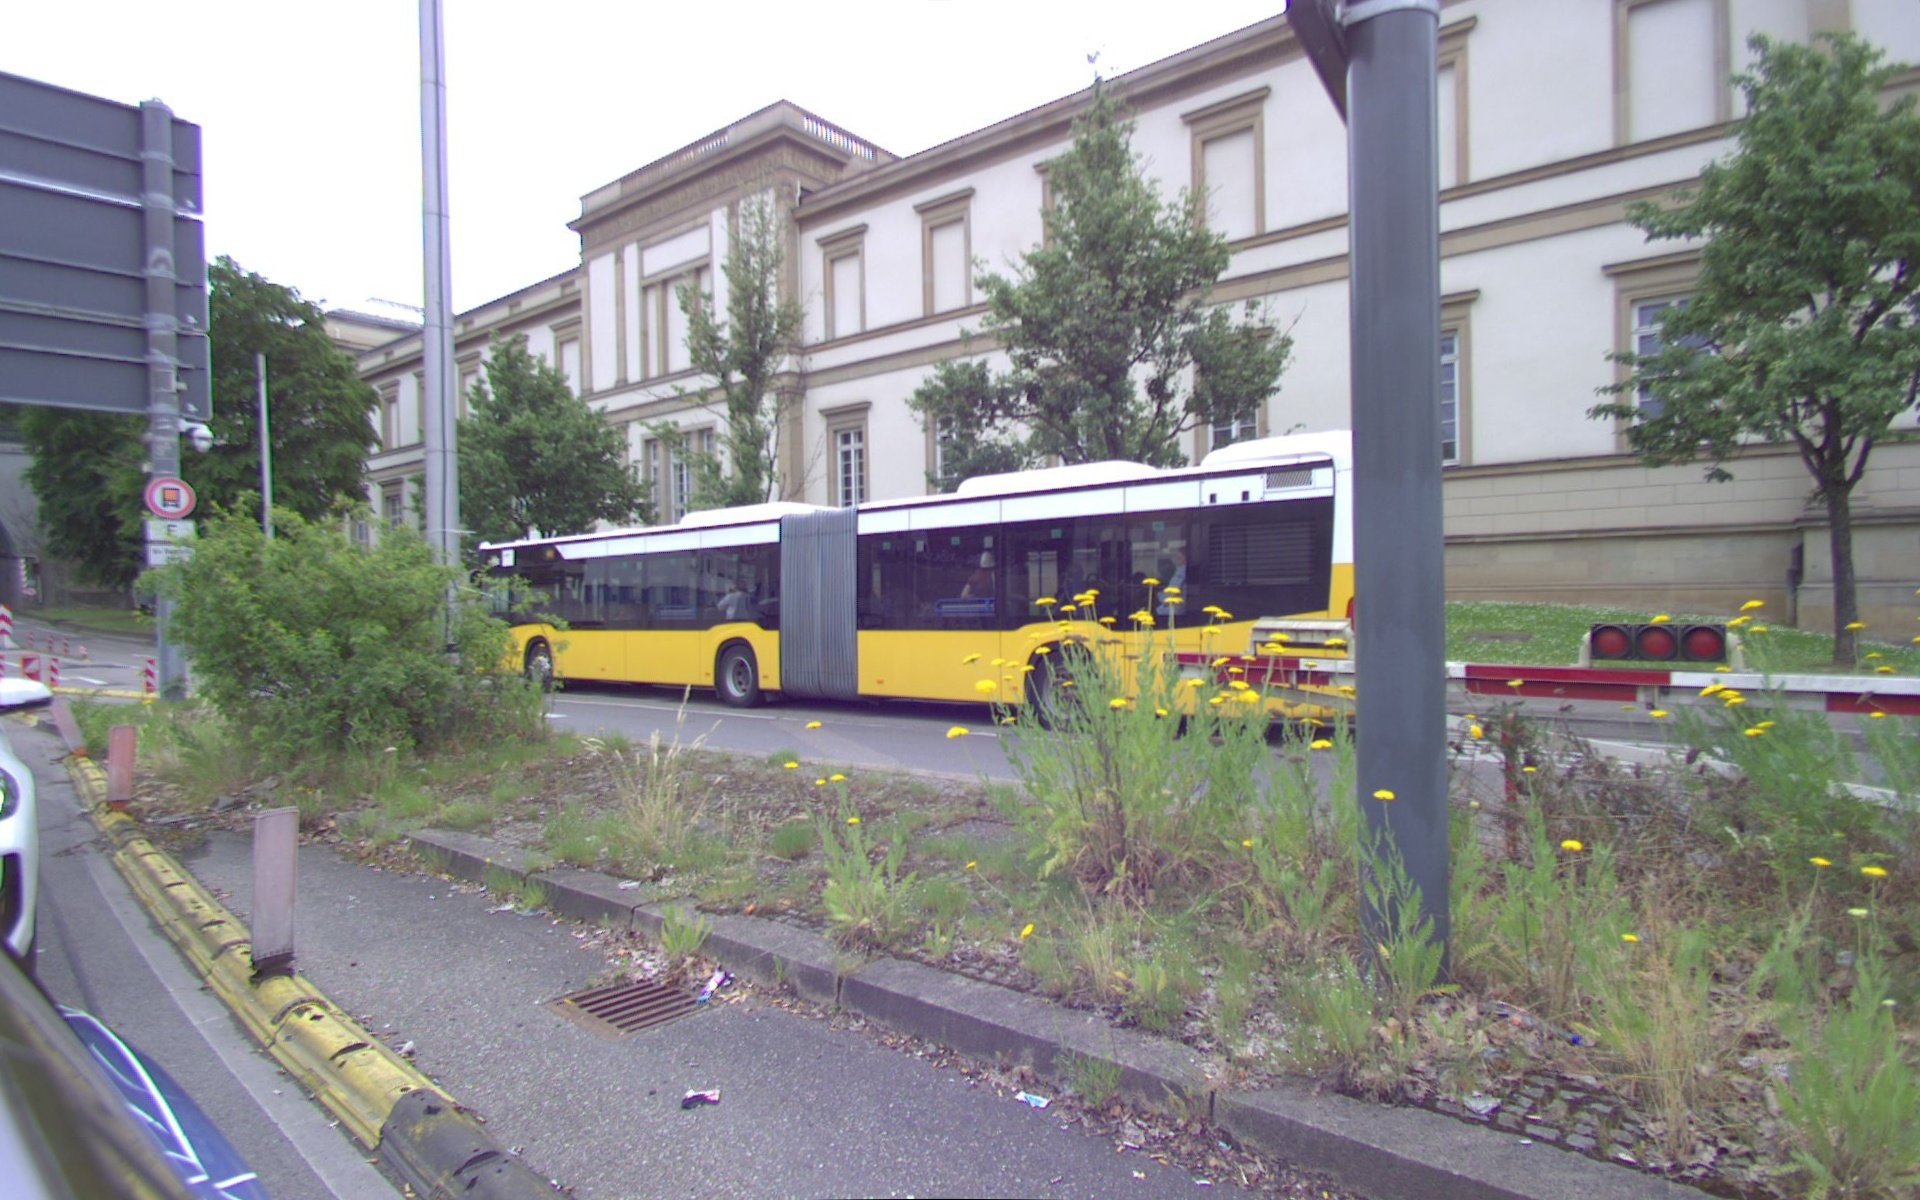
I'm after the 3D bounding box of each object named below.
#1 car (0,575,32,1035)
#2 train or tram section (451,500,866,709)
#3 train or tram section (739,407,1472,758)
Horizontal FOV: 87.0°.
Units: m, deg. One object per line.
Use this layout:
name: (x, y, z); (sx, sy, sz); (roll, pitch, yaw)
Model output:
car: (-5.238, 0.723, 4.206); (3.911, 1.568, 1.733); (-1, 0, 43)
train or tram section: (-6.041, 0.177, 18.970); (9.366, 3.094, 2.667); (-2, -2, 39)
train or tram section: (1.121, -0.046, 12.979); (9.330, 3.094, 2.666); (-2, -2, 41)
